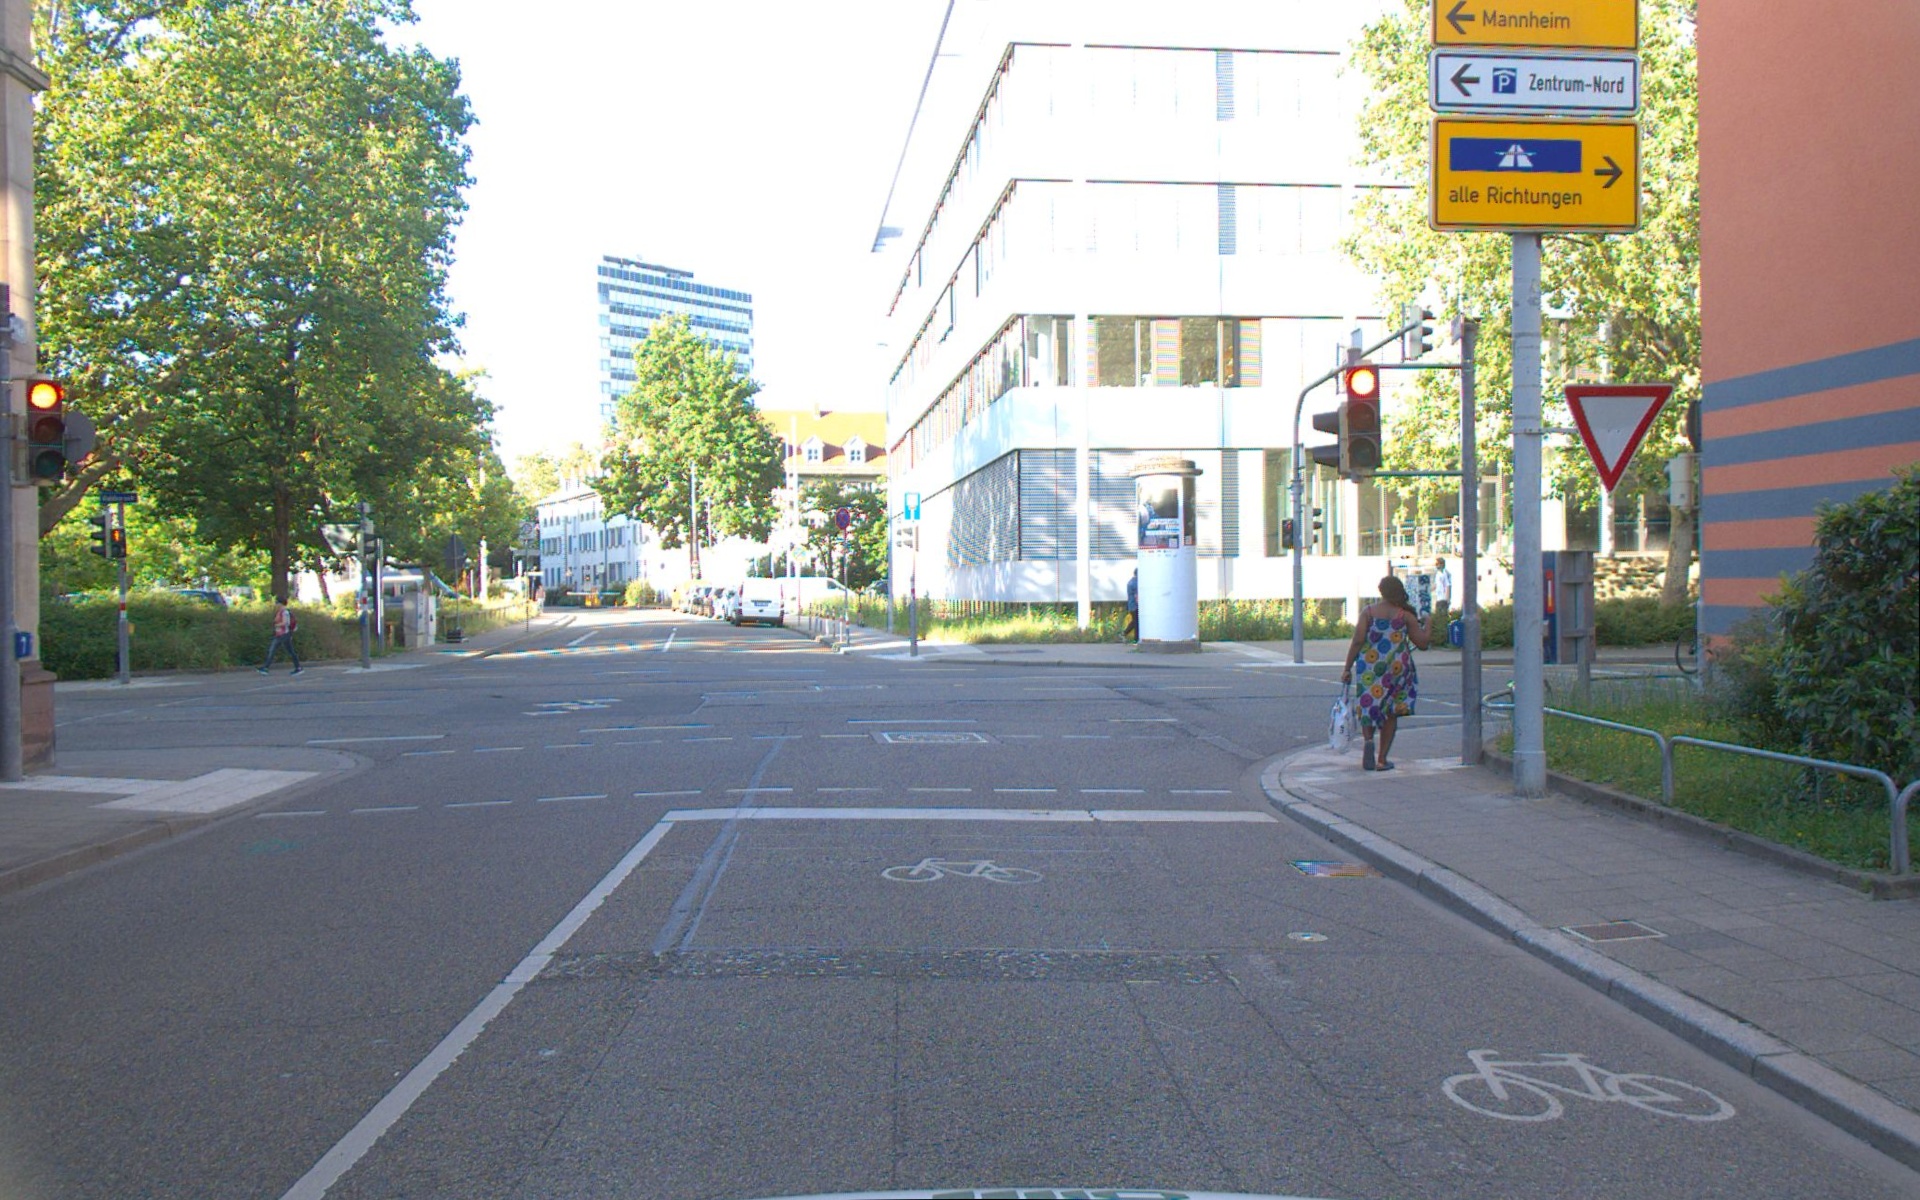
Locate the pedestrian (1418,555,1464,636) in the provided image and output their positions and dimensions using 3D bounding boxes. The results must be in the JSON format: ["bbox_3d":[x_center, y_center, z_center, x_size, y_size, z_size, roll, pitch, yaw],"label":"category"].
[{"bbox_3d":[11.281,-0.113,38.817,0.529,1.863,1.035,-1,0,-18],"label":"pedestrian"}]

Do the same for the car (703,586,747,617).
[{"bbox_3d":[-11.546,0.042,81.086,1.675,1.449,4.223,-1,1,-14],"label":"car"}]

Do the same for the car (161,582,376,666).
[{"bbox_3d":[-15.764,0.529,37.900,4.146,1.808,1.901,-1,0,-9],"label":"car"}]

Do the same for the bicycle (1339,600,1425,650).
[{"bbox_3d":[9.223,0.536,36.243,0.460,1.067,1.886,-1,0,-42],"label":"bicycle"}]

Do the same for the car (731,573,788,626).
[{"bbox_3d":[-7.861,-0.038,64.517,2.029,1.997,4.229,-1,0,-9],"label":"car"}]

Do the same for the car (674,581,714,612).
[{"bbox_3d":[-15.375,-0.225,95.422,2.063,1.687,4.463,-1,1,-11],"label":"car"}]

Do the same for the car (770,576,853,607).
[{"bbox_3d":[-9.218,-0.507,102.656,4.804,1.905,1.990,1,-1,-17],"label":"car"}]

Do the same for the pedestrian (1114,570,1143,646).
[{"bbox_3d":[3.967,0.179,38.969,0.638,1.766,0.813,-1,0,6],"label":"pedestrian"}]

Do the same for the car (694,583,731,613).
[{"bbox_3d":[-12.848,-0.105,85.637,1.674,1.490,4.226,-1,1,-11],"label":"car"}]

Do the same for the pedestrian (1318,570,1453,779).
[{"bbox_3d":[3.469,0.590,13.472,0.934,1.600,0.751,-4,0,16],"label":"pedestrian"}]

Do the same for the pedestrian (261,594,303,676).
[{"bbox_3d":[-13.837,0.702,33.740,0.704,1.627,0.611,-1,0,-31],"label":"pedestrian"}]

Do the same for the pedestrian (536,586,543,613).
[{"bbox_3d":[-24.964,-0.032,98.183,0.373,1.561,0.444,-1,0,-13],"label":"pedestrian"}]

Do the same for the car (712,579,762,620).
[{"bbox_3d":[-10.318,-0.048,76.254,1.913,1.826,4.224,-1,0,-13],"label":"car"}]
